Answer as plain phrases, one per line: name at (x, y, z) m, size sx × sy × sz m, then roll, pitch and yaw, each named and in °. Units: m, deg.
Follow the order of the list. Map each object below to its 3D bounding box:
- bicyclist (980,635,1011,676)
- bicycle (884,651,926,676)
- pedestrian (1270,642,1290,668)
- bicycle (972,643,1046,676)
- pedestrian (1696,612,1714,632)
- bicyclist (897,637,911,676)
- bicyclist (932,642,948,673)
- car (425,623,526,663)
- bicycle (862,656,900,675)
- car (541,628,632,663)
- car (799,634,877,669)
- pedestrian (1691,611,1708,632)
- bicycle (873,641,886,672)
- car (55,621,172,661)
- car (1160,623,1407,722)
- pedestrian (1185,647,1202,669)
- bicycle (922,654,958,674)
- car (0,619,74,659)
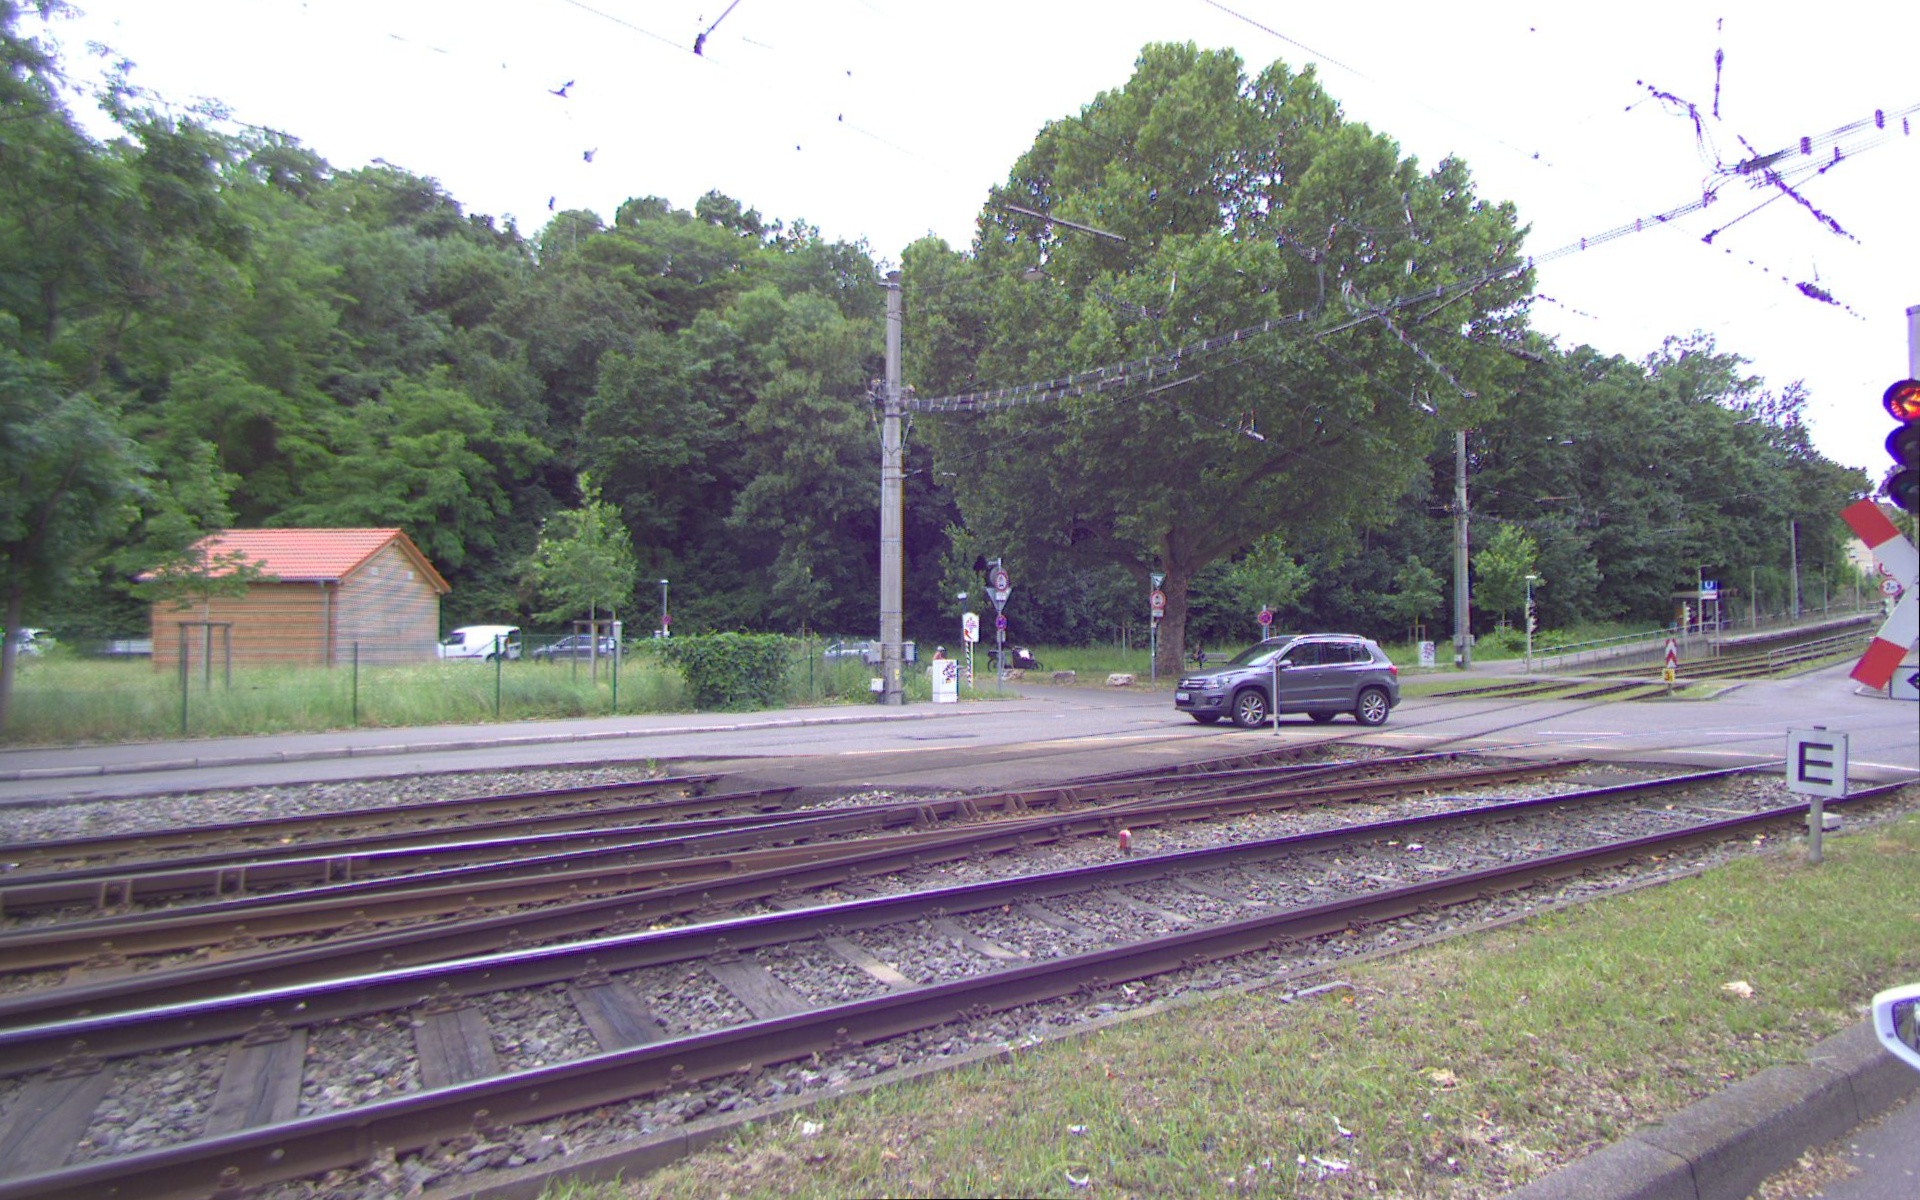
bicyclist at (1.614, 2.495, 45.459) m, size 1.269 × 1.734 × 0.734 m, roll -2°, pitch 2°, yaw -9°
bicycle at (-2.500, 2.886, 45.710) m, size 1.907 × 1.055 × 0.475 m, roll 0°, pitch 1°, yaw -4°
pedestrian at (15.544, 2.663, 48.803) m, size 0.662 × 1.251 × 0.578 m, roll 2°, pitch 0°, yaw -16°
bicycle at (2.215, 2.692, 45.577) m, size 3.286 × 1.307 × 0.734 m, roll -2°, pitch 2°, yaw -9°
pedestrian at (50.072, 1.479, 67.469) m, size 0.780 × 1.344 × 0.766 m, roll 2°, pitch 0°, yaw -38°
bicyclist at (-2.534, 2.566, 45.697) m, size 0.612 × 1.697 × 0.475 m, roll 0°, pitch 2°, yaw -4°
bicyclist at (-0.884, 2.541, 44.670) m, size 0.572 × 1.319 × 0.453 m, roll -3°, pitch 3°, yaw -17°
car at (-21.909, 1.939, 45.524) m, size 3.610 × 1.634 × 1.909 m, roll 2°, pitch 0°, yaw -3°
bicycle at (-3.524, 2.917, 44.639) m, size 1.623 × 0.749 × 0.454 m, roll -1°, pitch 2°, yaw -11°
car at (-16.862, 2.040, 45.467) m, size 3.436 × 1.443 × 1.700 m, roll 2°, pitch 0°, yaw -3°
car at (-5.655, 2.386, 46.848) m, size 3.436 × 1.443 × 1.700 m, roll 2°, pitch 0°, yaw -3°
pedestrian at (49.200, 1.450, 66.824) m, size 0.780 × 1.344 × 0.766 m, roll -1°, pitch 2°, yaw -37°
bicycle at (-3.570, 2.498, 44.626) m, size 0.507 × 1.348 × 0.454 m, roll -1°, pitch 2°, yaw -11°
car at (-37.595, 1.819, 44.682) m, size 3.610 × 1.634 × 1.757 m, roll 2°, pitch 0°, yaw -3°
car at (6.070, 1.385, 19.062) m, size 4.064 × 1.740 × 1.903 m, roll 1°, pitch -4°, yaw -12°
pedestrian at (11.254, 2.783, 48.347) m, size 0.610 × 1.003 × 0.530 m, roll 2°, pitch 0°, yaw -15°
bicycle at (-0.895, 2.840, 44.671) m, size 1.534 × 0.749 × 0.453 m, roll -3°, pitch 3°, yaw -17°
car at (-41.788, 1.690, 44.361) m, size 3.612 × 1.634 × 1.756 m, roll 2°, pitch 0°, yaw -6°
